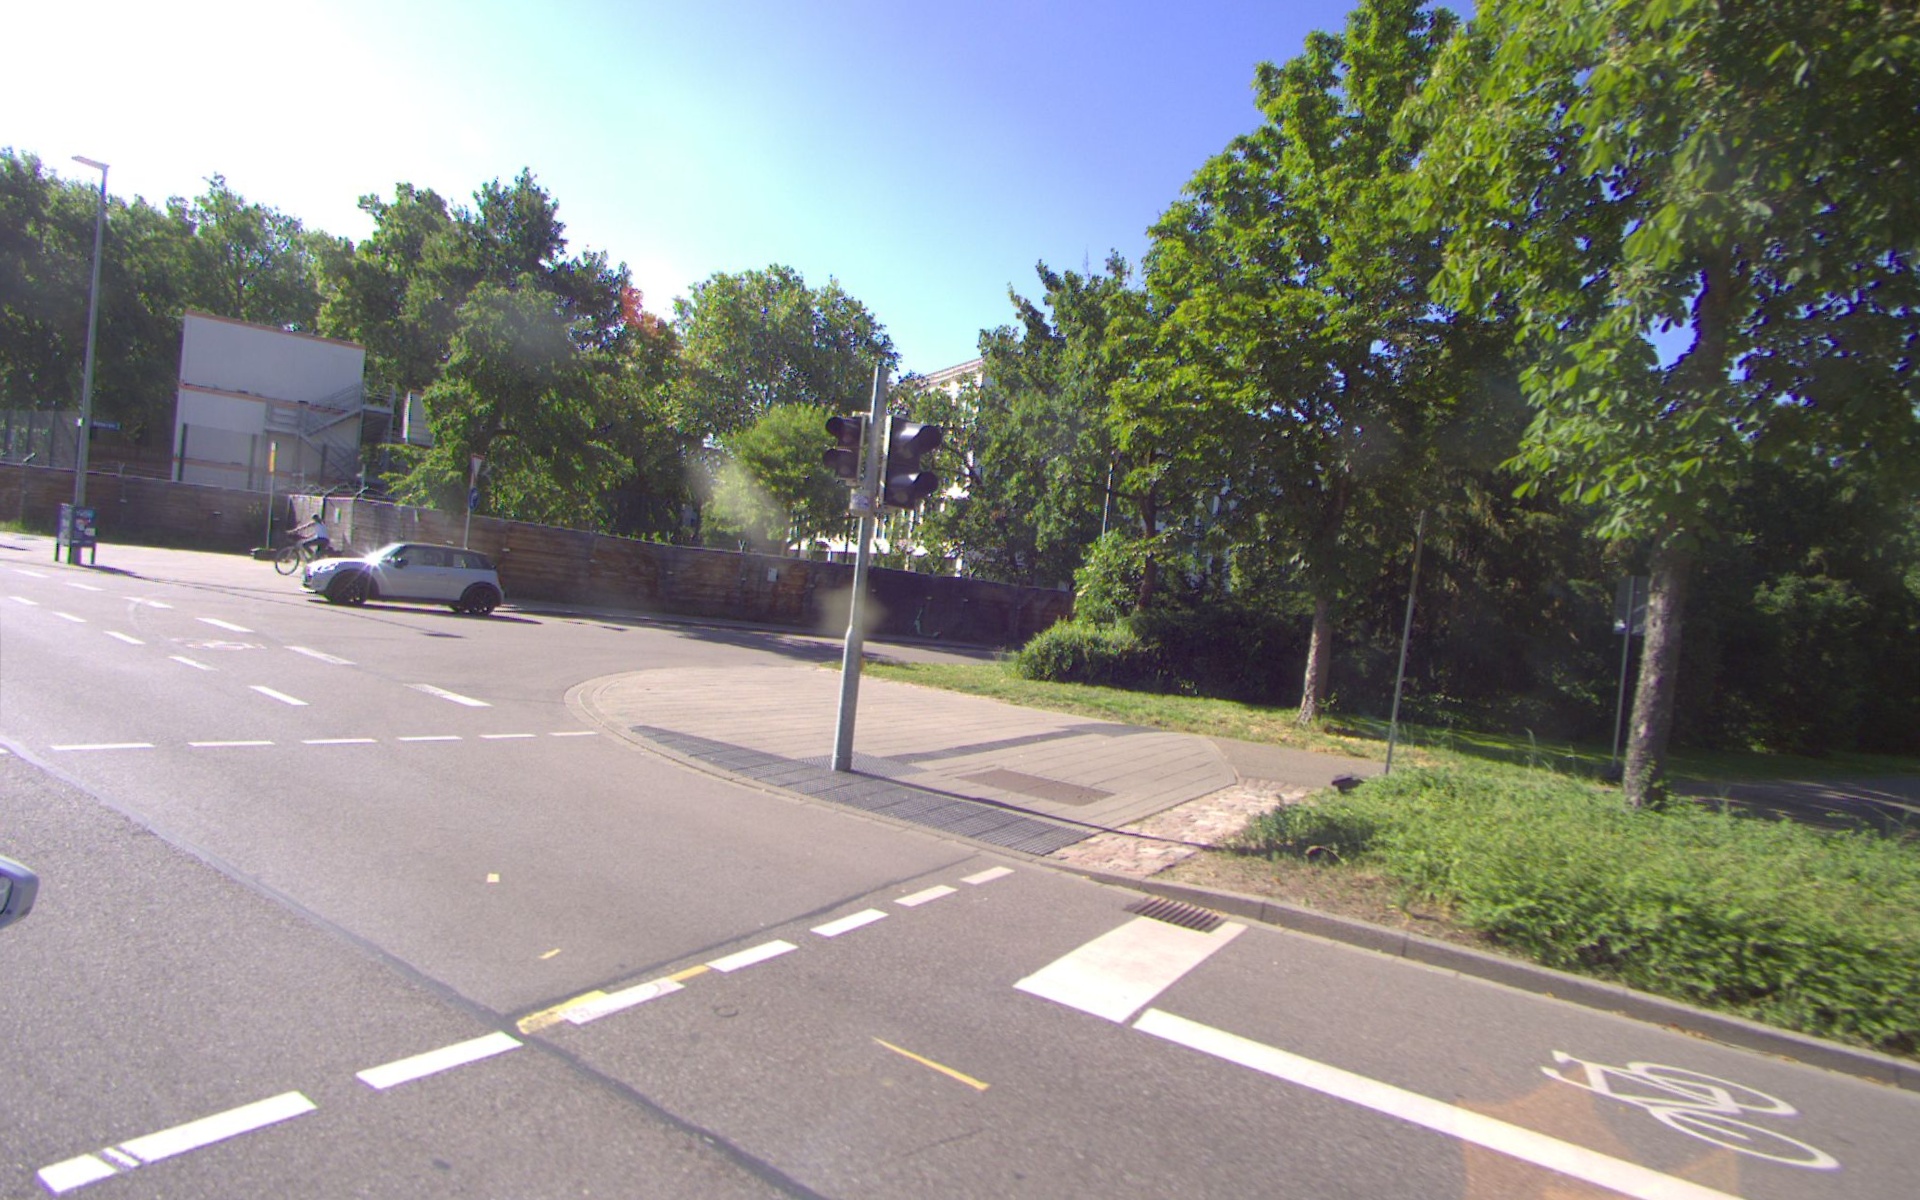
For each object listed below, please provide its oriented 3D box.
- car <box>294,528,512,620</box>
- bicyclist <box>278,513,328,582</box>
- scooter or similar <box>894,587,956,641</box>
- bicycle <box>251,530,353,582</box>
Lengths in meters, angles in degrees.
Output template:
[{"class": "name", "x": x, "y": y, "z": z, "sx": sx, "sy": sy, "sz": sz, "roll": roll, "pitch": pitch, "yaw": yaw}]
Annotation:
[{"class": "car", "x": -11.883, "y": -0.533, "z": 21.580, "sx": 3.687, "sy": 1.453, "sz": 1.751, "roll": 8, "pitch": -1, "yaw": -43}, {"class": "bicyclist", "x": -17.074, "y": -1.357, "z": 26.174, "sx": 0.840, "sy": 1.695, "sz": 0.740, "roll": 5, "pitch": 2, "yaw": -21}, {"class": "scooter or similar", "x": -1.261, "y": 0.520, "z": 36.167, "sx": 2.056, "sy": 1.704, "sz": 0.571, "roll": 7, "pitch": 0, "yaw": -33}, {"class": "bicycle", "x": -17.122, "y": -1.137, "z": 26.225, "sx": 2.093, "sy": 1.127, "sz": 0.601, "roll": 5, "pitch": 3, "yaw": -21}]
